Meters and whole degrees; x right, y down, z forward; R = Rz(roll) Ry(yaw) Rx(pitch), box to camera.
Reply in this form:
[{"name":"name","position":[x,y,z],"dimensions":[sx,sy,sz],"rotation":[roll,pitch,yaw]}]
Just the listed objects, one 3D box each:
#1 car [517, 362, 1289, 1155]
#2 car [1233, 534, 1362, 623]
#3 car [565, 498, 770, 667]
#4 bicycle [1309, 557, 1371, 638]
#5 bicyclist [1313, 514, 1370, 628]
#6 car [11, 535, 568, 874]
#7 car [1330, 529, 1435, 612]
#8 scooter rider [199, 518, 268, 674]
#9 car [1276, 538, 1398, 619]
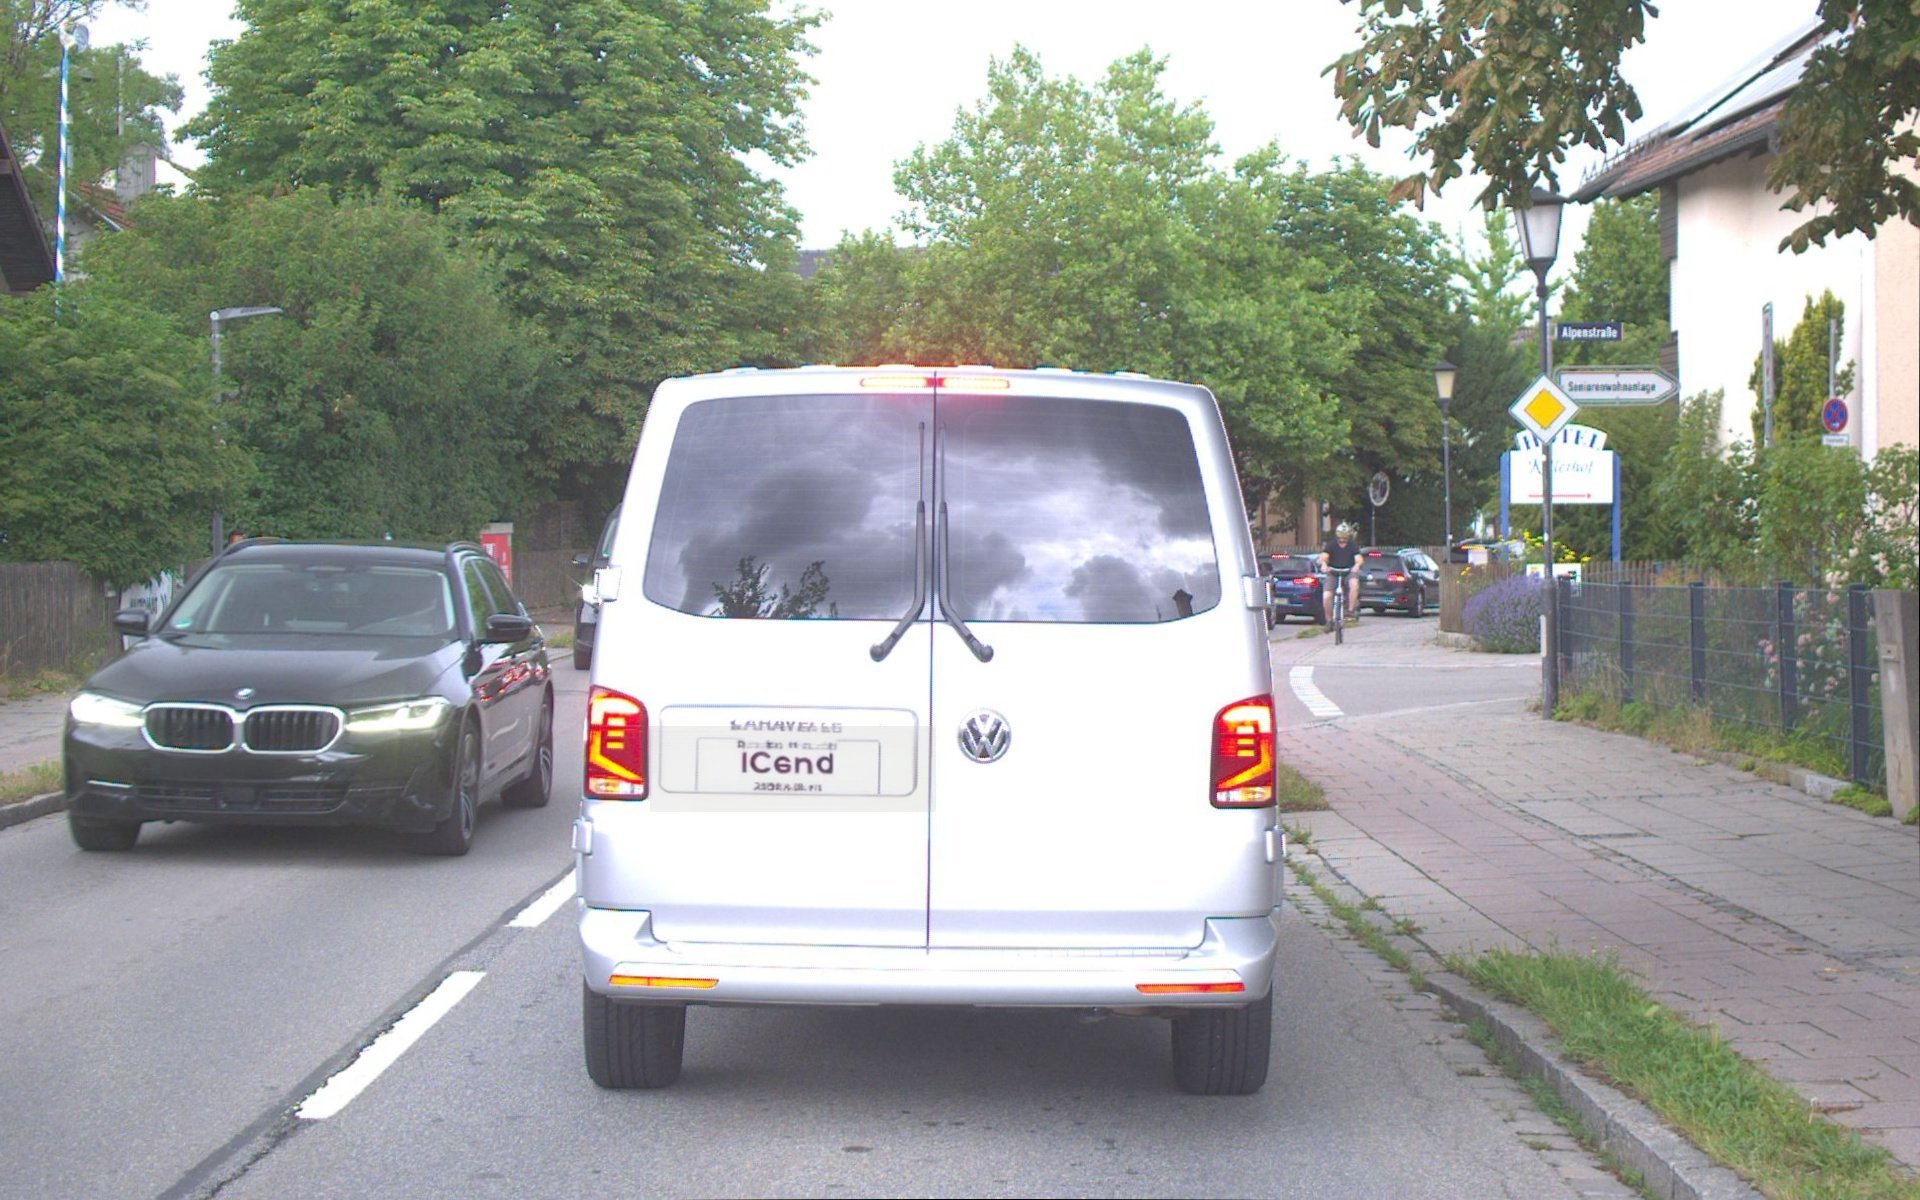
[{"name":"car","position":[-0.123,0.350,10.349],"dimensions":[1.881,1.934,3.921],"rotation":[0,1,1]},{"name":"car","position":[6.104,-0.415,61.840],"dimensions":[1.882,1.530,3.919],"rotation":[0,1,12]},{"name":"car","position":[-3.372,-0.247,40.484],"dimensions":[1.964,1.847,4.948],"rotation":[1,1,0]},{"name":"bicycle","position":[5.501,-0.041,49.846],"dimensions":[0.764,1.139,1.845],"rotation":[0,1,3]},{"name":"bicyclist","position":[5.530,-0.424,49.872],"dimensions":[0.736,1.627,0.890],"rotation":[0,1,1]},{"name":"car","position":[-3.210,0.417,17.385],"dimensions":[1.846,1.449,4.549],"rotation":[1,1,1]},{"name":"car","position":[9.209,-0.668,74.723],"dimensions":[1.882,1.742,4.078],"rotation":[0,1,12]},{"name":"scooter rider","position":[-6.983,-0.046,33.070],"dimensions":[0.502,1.484,0.716],"rotation":[0,1,-1]},{"name":"car","position":[7.453,-0.449,67.697],"dimensions":[1.882,1.530,3.918],"rotation":[0,1,14]}]
